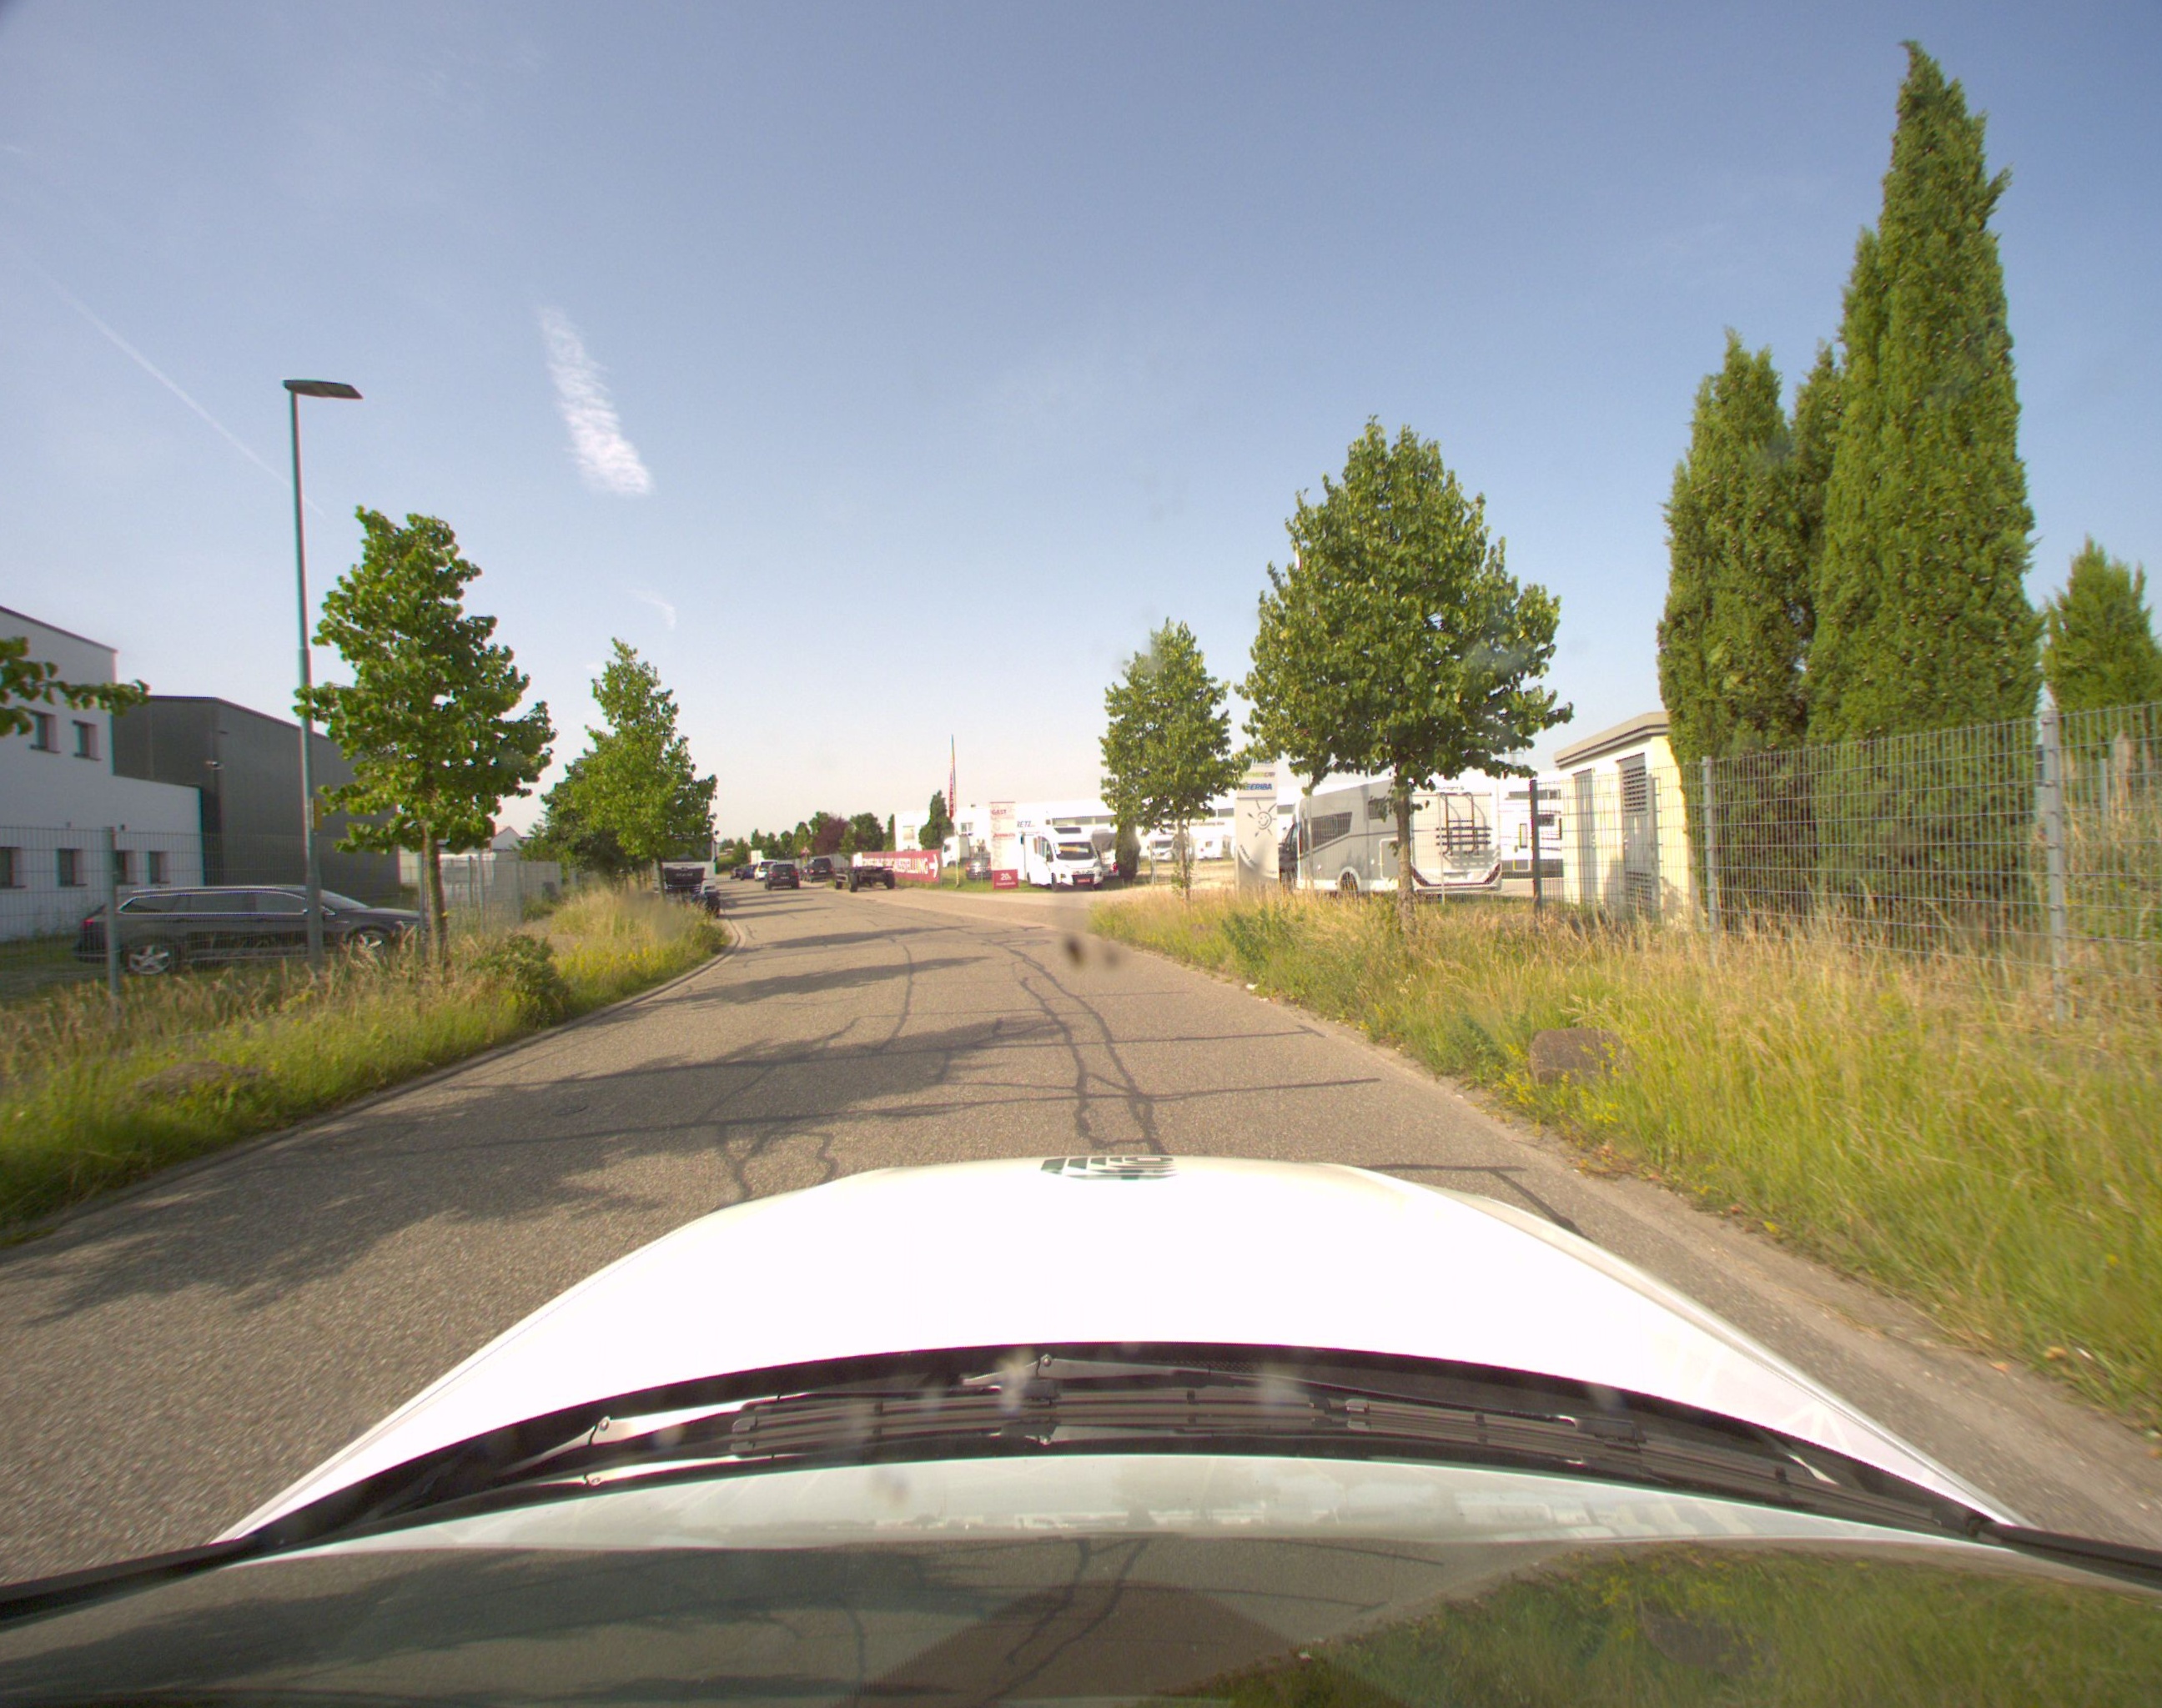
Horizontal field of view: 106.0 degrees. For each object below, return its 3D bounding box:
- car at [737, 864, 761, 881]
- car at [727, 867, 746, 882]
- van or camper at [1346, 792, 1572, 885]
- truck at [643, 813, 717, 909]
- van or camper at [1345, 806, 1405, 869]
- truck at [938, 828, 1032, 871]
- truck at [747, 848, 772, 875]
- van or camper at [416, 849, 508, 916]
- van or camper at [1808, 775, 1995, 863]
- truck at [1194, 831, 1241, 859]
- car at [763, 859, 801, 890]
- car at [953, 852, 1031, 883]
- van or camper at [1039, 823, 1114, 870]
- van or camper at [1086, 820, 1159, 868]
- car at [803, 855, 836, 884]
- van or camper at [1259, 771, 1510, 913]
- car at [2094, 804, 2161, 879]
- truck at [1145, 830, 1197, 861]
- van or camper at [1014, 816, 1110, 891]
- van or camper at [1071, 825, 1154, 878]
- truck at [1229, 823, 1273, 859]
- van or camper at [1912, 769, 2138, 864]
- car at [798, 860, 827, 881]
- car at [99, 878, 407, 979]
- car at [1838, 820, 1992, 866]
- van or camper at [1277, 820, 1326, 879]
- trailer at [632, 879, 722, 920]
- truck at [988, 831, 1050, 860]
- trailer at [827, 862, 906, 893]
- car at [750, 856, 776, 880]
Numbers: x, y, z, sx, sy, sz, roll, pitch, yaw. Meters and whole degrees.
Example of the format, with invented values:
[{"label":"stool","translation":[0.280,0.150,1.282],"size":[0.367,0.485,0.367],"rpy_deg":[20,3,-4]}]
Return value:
[{"label":"car","translation":[-34.690,1.921,85.065],"size":[2.004,1.640,3.966],"rpy_deg":[-3,0,-26]},{"label":"car","translation":[-43.580,2.601,102.937],"size":[2.004,1.772,3.966],"rpy_deg":[-3,0,-26]},{"label":"van or camper","translation":[13.845,-0.514,30.464],"size":[7.207,3.032,2.595],"rpy_deg":[-2,0,14]},{"label":"truck","translation":[-19.320,0.347,39.853],"size":[2.638,3.929,12.814],"rpy_deg":[-2,0,-24]},{"label":"van or camper","translation":[14.138,-0.771,39.508],"size":[2.302,2.705,6.639],"rpy_deg":[-2,0,17]},{"label":"truck","translation":[-9.860,-0.428,83.452],"size":[9.210,3.972,2.470],"rpy_deg":[-2,1,17]},{"label":"truck","translation":[-46.677,1.119,118.248],"size":[2.901,3.585,7.998],"rpy_deg":[-4,1,-24]},{"label":"van or camper","translation":[-26.413,1.177,34.939],"size":[2.319,2.560,4.908],"rpy_deg":[-3,0,-28]},{"label":"van or camper","translation":[32.804,-1.295,32.951],"size":[2.464,3.129,6.640],"rpy_deg":[-2,0,18]},{"label":"truck","translation":[12.130,-0.826,71.758],"size":[2.429,2.265,8.044],"rpy_deg":[-2,1,21]},{"label":"car","translation":[-19.151,1.283,52.082],"size":[2.003,1.804,3.968],"rpy_deg":[-2,1,-24]},{"label":"car","translation":[-4.959,0.732,45.667],"size":[2.144,1.476,4.026],"rpy_deg":[-2,1,35]},{"label":"van or camper","translation":[-0.173,-0.645,59.075],"size":[2.775,3.083,8.010],"rpy_deg":[-2,1,19]},{"label":"van or camper","translation":[3.086,-0.776,57.976],"size":[2.925,3.083,8.010],"rpy_deg":[-2,1,19]},{"label":"car","translation":[-20.112,1.162,62.621],"size":[1.827,1.978,3.969],"rpy_deg":[-6,2,-24]},{"label":"van or camper","translation":[7.044,-0.263,20.293],"size":[2.350,2.847,7.314],"rpy_deg":[-2,0,-11]},{"label":"car","translation":[22.483,-0.245,15.631],"size":[1.698,1.479,4.016],"rpy_deg":[-3,1,14]},{"label":"truck","translation":[7.901,-0.774,70.425],"size":[2.429,2.471,8.044],"rpy_deg":[-2,1,21]},{"label":"van or camper","translation":[-0.998,-0.029,36.185],"size":[2.337,2.943,6.929],"rpy_deg":[-3,1,-17]},{"label":"van or camper","translation":[1.823,-0.225,43.592],"size":[2.462,2.558,6.660],"rpy_deg":[-2,1,20]},{"label":"truck","translation":[14.889,-1.158,70.712],"size":[2.429,2.826,8.044],"rpy_deg":[-2,1,21]},{"label":"van or camper","translation":[35.601,-1.304,31.134],"size":[2.464,3.129,6.640],"rpy_deg":[-2,0,18]},{"label":"car","translation":[-22.368,1.328,67.667],"size":[1.827,1.449,3.771],"rpy_deg":[-6,2,-24]},{"label":"car","translation":[-14.580,1.251,14.626],"size":[3.513,1.454,1.582],"rpy_deg":[-2,0,-28]},{"label":"car","translation":[27.385,-0.374,26.937],"size":[1.698,1.379,4.015],"rpy_deg":[0,1,14]},{"label":"van or camper","translation":[10.836,-0.269,39.664],"size":[1.978,2.534,6.179],"rpy_deg":[-3,1,17]},{"label":"trailer","translation":[-14.234,1.529,28.815],"size":[2.587,1.100,5.157],"rpy_deg":[-2,0,-26]},{"label":"truck","translation":[-5.549,-0.848,75.132],"size":[2.429,2.471,8.044],"rpy_deg":[-2,1,21]},{"label":"trailer","translation":[-12.503,1.278,46.811],"size":[2.637,1.388,9.374],"rpy_deg":[-5,2,-25]},{"label":"car","translation":[-27.534,1.193,70.481],"size":[2.002,1.899,4.434],"rpy_deg":[-2,1,-22]}]
